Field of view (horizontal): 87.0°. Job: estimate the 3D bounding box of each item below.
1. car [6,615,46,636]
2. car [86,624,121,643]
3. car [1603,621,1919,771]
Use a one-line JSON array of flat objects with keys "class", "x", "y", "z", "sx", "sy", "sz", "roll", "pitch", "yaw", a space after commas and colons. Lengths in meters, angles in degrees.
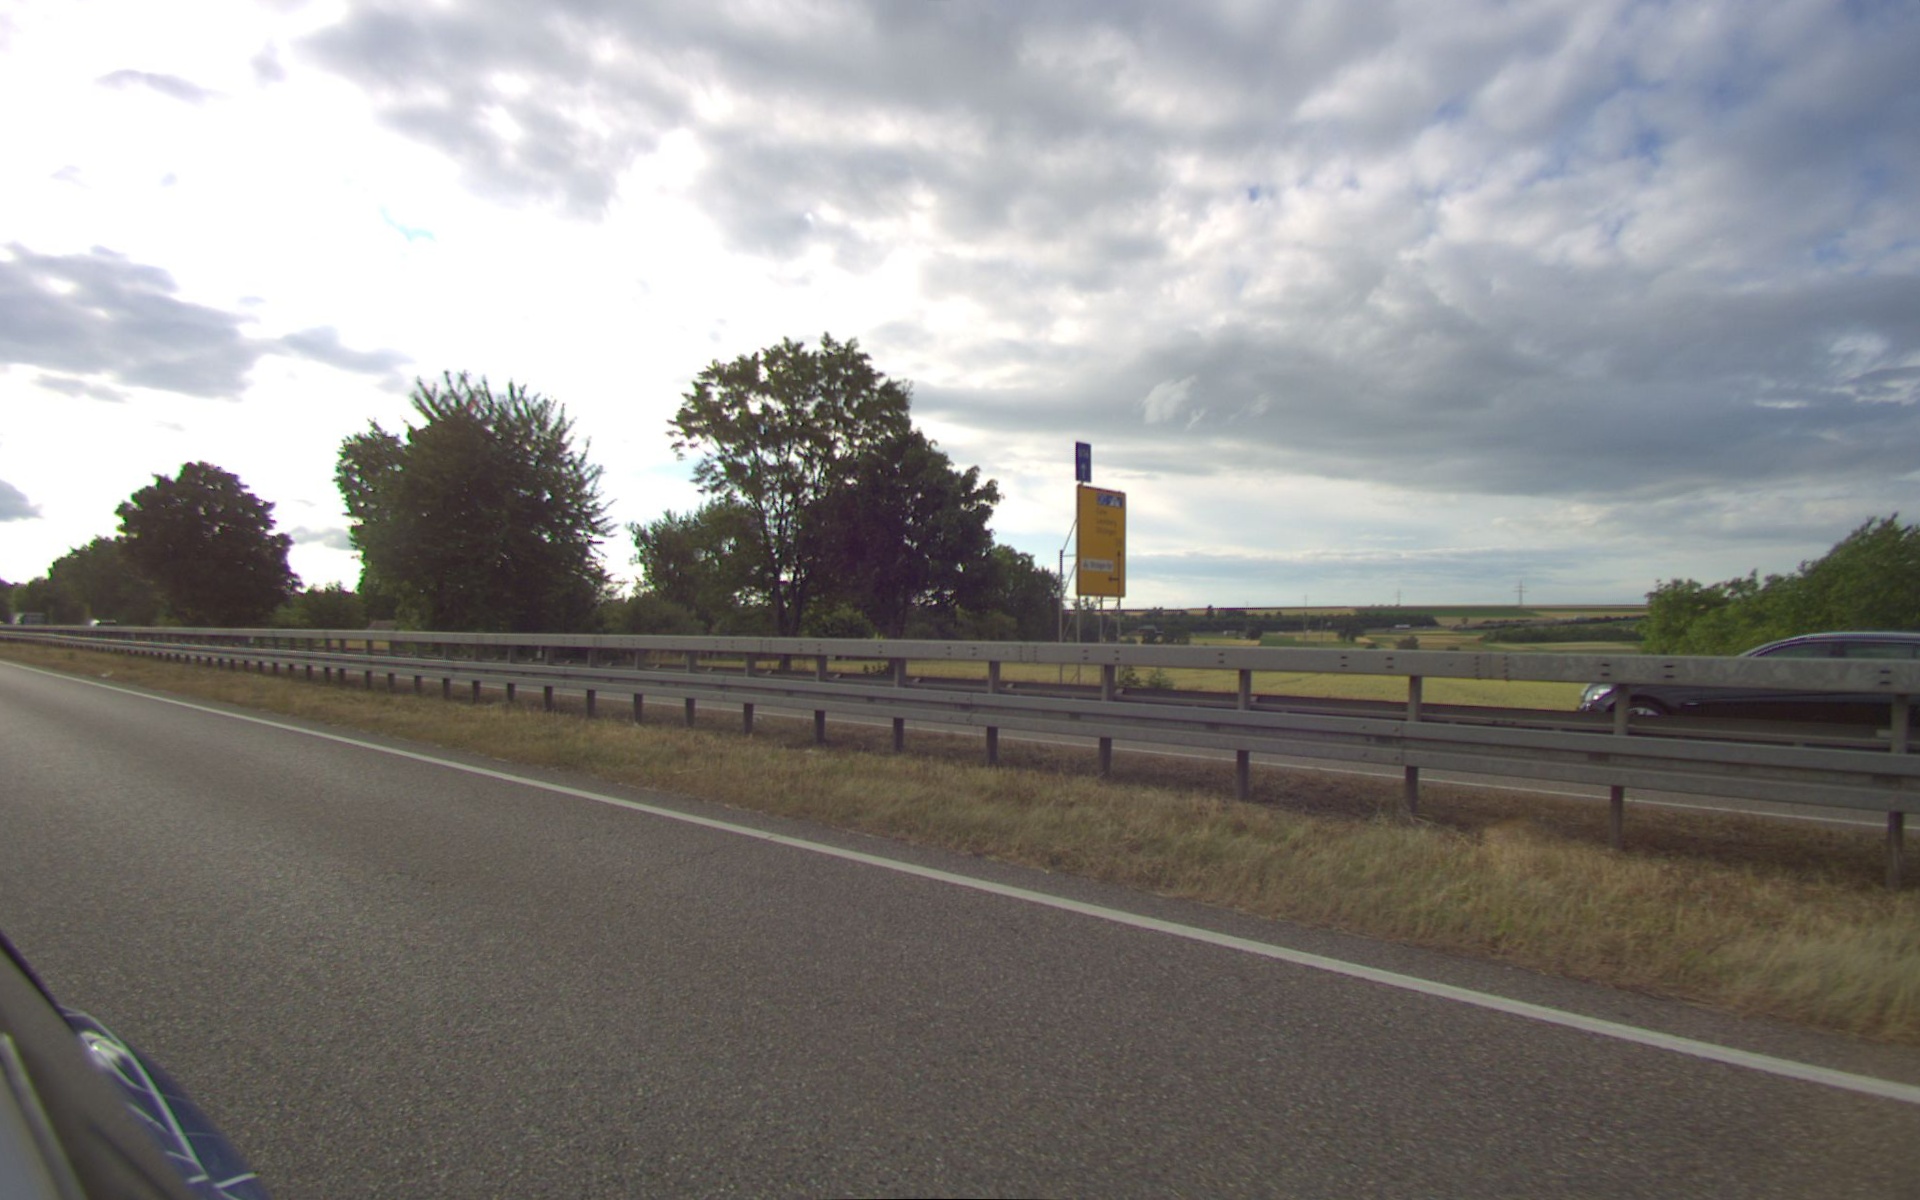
[{"class": "car", "x": -76.452, "y": 2.056, "z": 82.826, "sx": 4.374, "sy": 1.648, "sz": 1.912, "roll": -1, "pitch": -2, "yaw": 41}, {"class": "car", "x": -66.635, "y": 2.562, "z": 78.713, "sx": 3.470, "sy": 1.390, "sz": 1.585, "roll": -1, "pitch": -1, "yaw": 41}, {"class": "car", "x": 9.957, "y": 0.997, "z": 11.309, "sx": 4.459, "sy": 1.489, "sz": 1.887, "roll": -1, "pitch": -1, "yaw": 41}]
